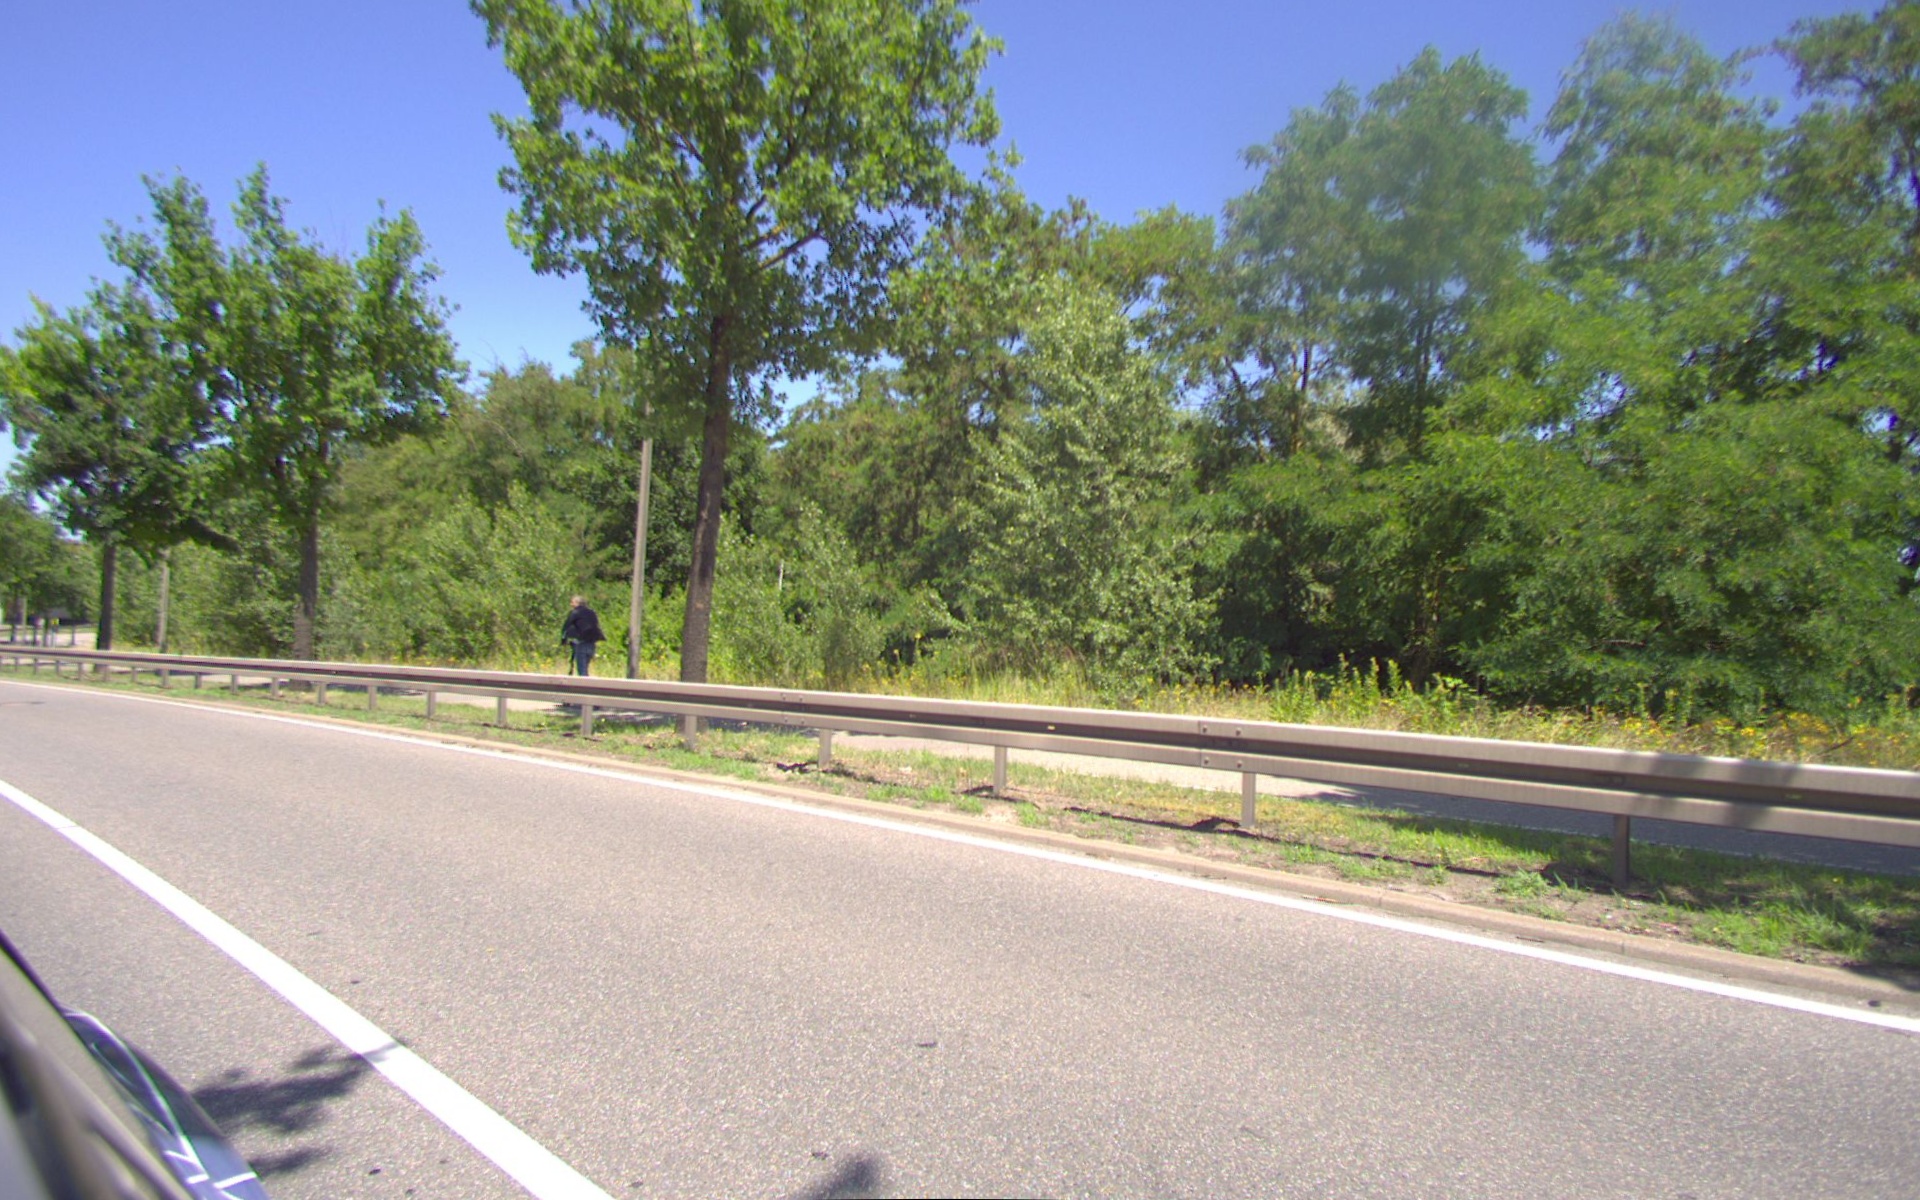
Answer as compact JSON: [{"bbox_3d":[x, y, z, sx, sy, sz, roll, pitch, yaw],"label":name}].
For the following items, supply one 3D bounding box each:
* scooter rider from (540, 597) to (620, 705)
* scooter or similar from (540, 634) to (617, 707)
[{"bbox_3d":[-6.129,0.790,16.315,1.120,1.670,0.768,-1,-1,42],"label":"scooter rider"},{"bbox_3d":[-6.154,1.115,16.318,1.095,1.099,0.768,-1,-1,43],"label":"scooter or similar"}]
